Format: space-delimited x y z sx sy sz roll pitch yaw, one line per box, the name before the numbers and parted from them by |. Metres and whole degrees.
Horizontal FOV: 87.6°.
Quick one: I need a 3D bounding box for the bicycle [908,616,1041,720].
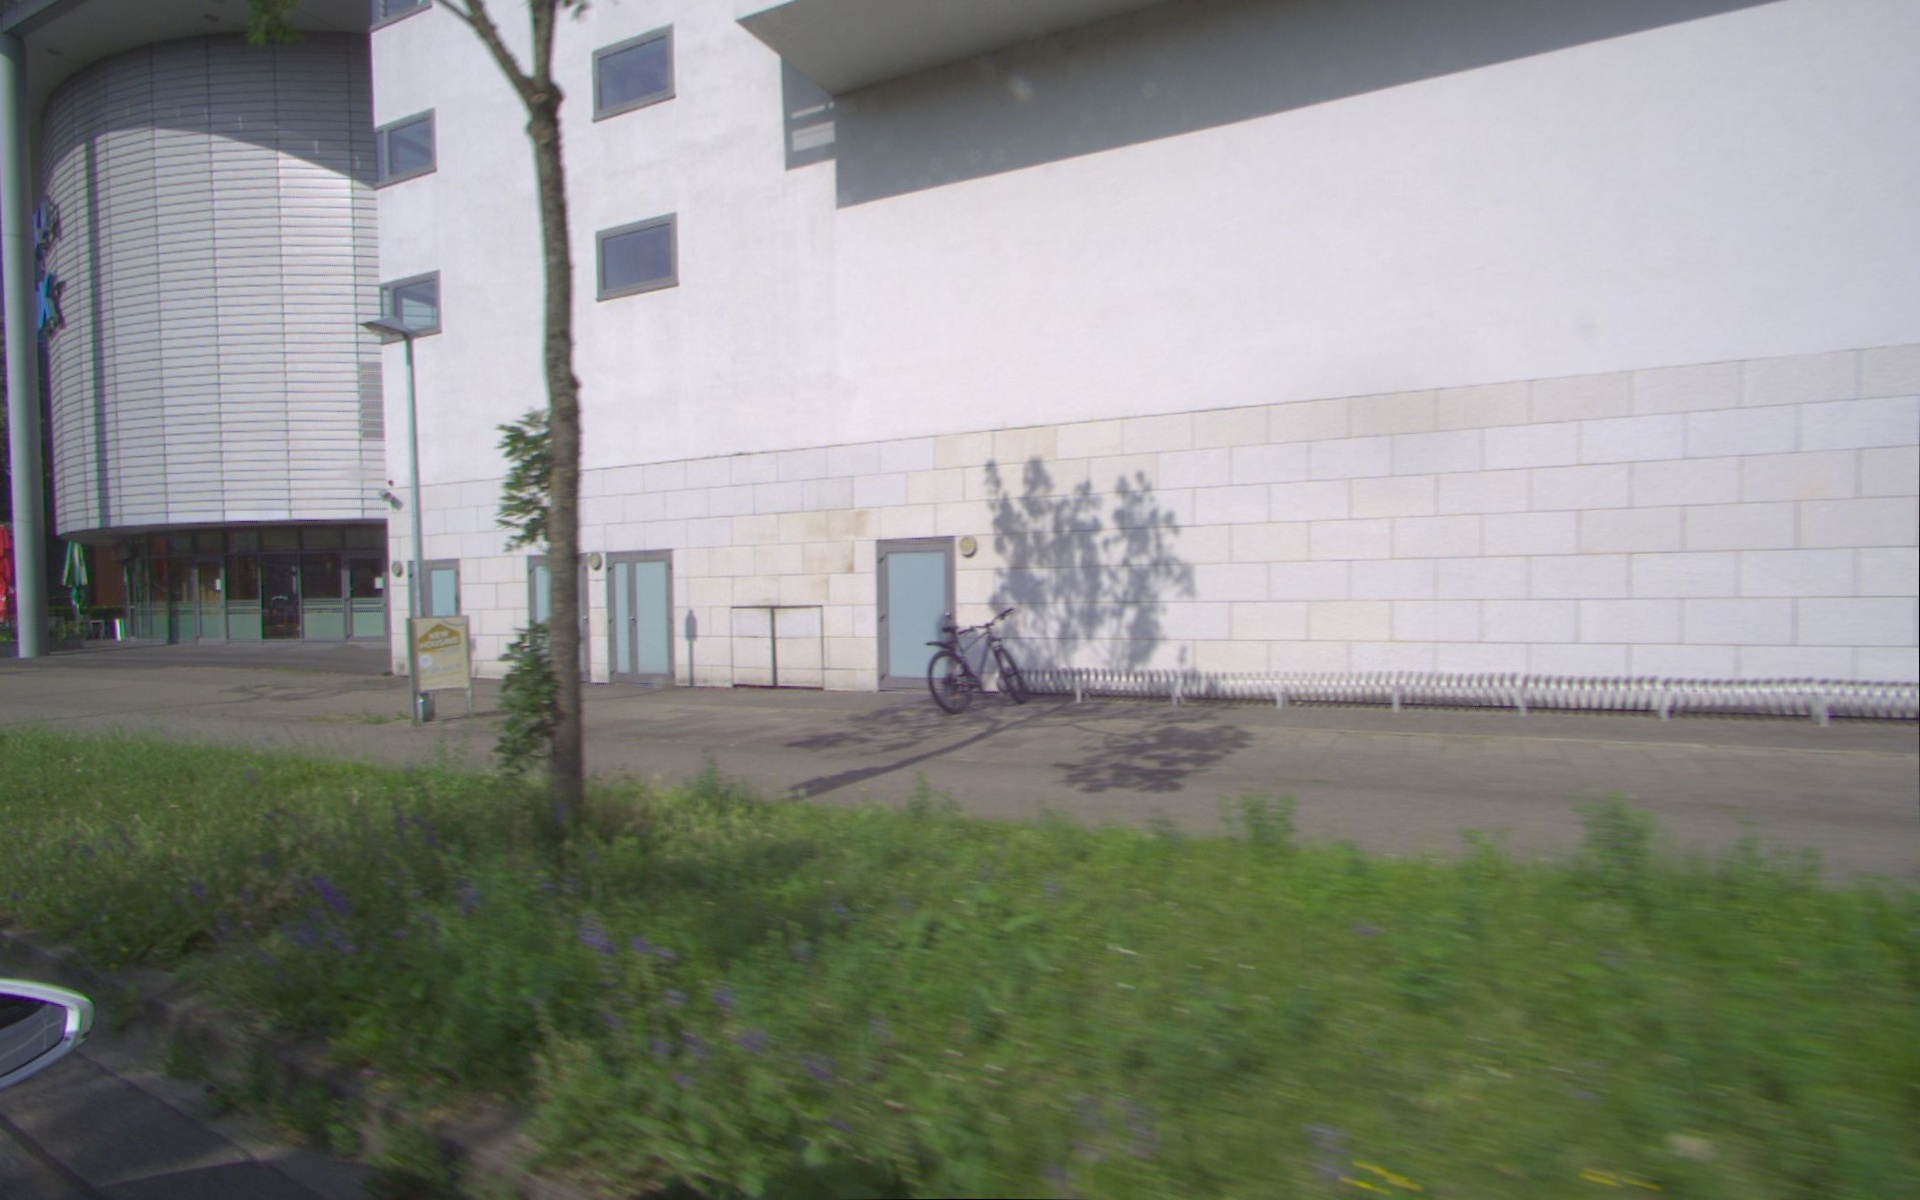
bicycle | 0.219 0.763 12.021 0.665 1.117 2.005 -1 0 31
